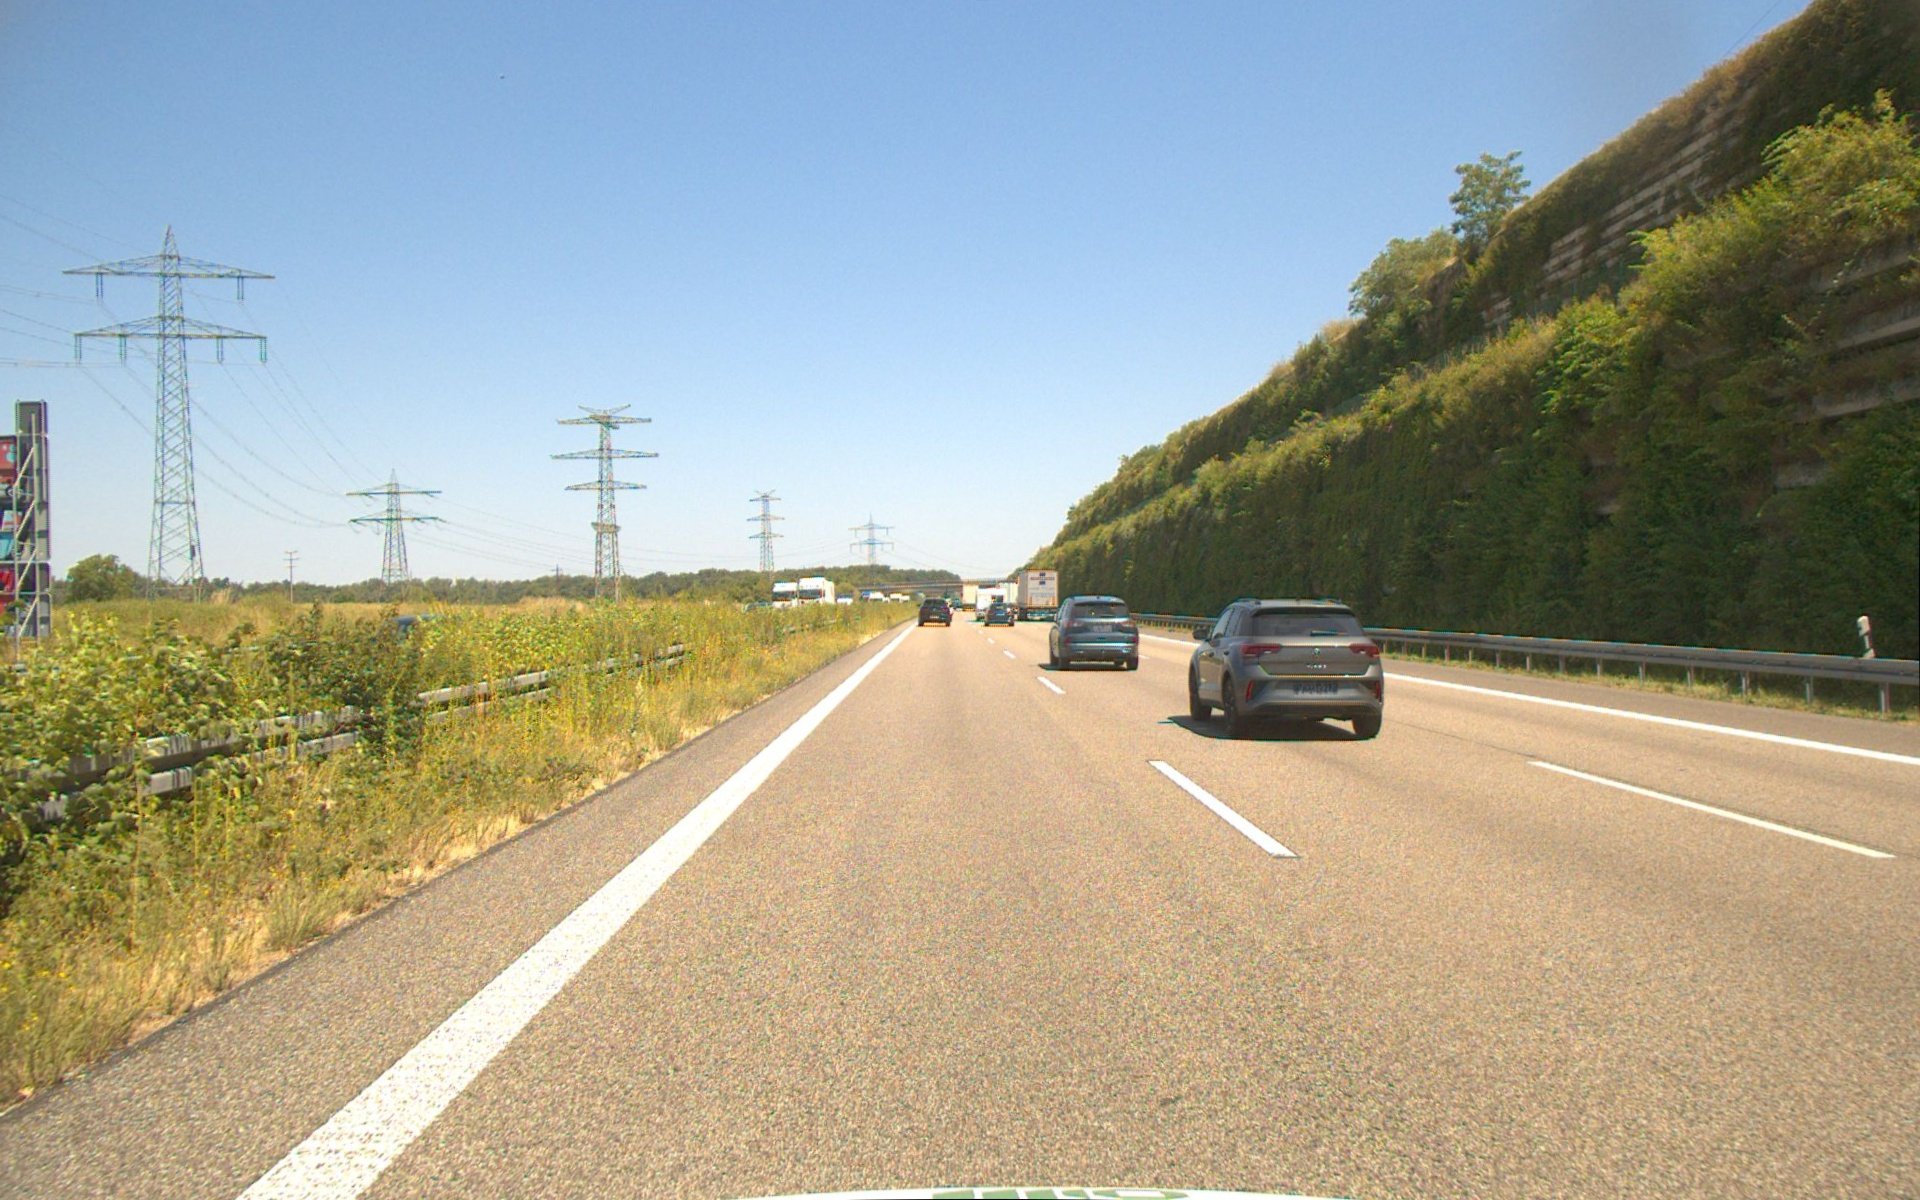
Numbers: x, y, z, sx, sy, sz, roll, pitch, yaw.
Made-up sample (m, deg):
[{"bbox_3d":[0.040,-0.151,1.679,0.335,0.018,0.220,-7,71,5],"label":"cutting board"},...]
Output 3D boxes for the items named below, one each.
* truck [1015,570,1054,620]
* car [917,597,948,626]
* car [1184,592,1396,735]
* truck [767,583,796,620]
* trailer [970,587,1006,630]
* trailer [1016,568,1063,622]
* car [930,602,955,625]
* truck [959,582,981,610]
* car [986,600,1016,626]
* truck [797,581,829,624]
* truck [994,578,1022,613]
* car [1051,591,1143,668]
[{"bbox_3d":[6.477,-0.431,144.293,3.072,4.214,5.503,-1,0,0],"label":"truck"},{"bbox_3d":[-1.692,0.701,102.152,1.792,1.700,3.999,-1,0,-1],"label":"car"},{"bbox_3d":[3.897,0.695,20.162,1.714,1.552,3.994,-1,0,-1],"label":"car"},{"bbox_3d":[-19.329,0.164,179.276,2.720,3.920,5.566,0,0,-3],"label":"truck"},{"bbox_3d":[2.181,0.653,132.265,2.558,3.269,9.950,-1,0,-1],"label":"trailer"},{"bbox_3d":[6.555,-0.413,137.792,3.118,4.193,13.429,-1,0,0],"label":"trailer"},{"bbox_3d":[-1.351,1.011,126.134,1.792,1.700,3.999,-1,0,-1],"label":"car"},{"bbox_3d":[1.610,-0.629,265.027,3.340,4.355,10.606,0,0,0],"label":"truck"},{"bbox_3d":[2.579,0.815,105.211,1.792,1.552,4.000,-1,0,0],"label":"car"},{"bbox_3d":[-14.618,0.273,164.489,2.748,4.231,5.568,0,0,-1],"label":"truck"},{"bbox_3d":[6.126,-0.592,212.501,3.055,4.355,11.932,-1,0,0],"label":"truck"},{"bbox_3d":[3.138,0.653,38.562,1.757,1.682,4.137,0,0,-1],"label":"car"}]
